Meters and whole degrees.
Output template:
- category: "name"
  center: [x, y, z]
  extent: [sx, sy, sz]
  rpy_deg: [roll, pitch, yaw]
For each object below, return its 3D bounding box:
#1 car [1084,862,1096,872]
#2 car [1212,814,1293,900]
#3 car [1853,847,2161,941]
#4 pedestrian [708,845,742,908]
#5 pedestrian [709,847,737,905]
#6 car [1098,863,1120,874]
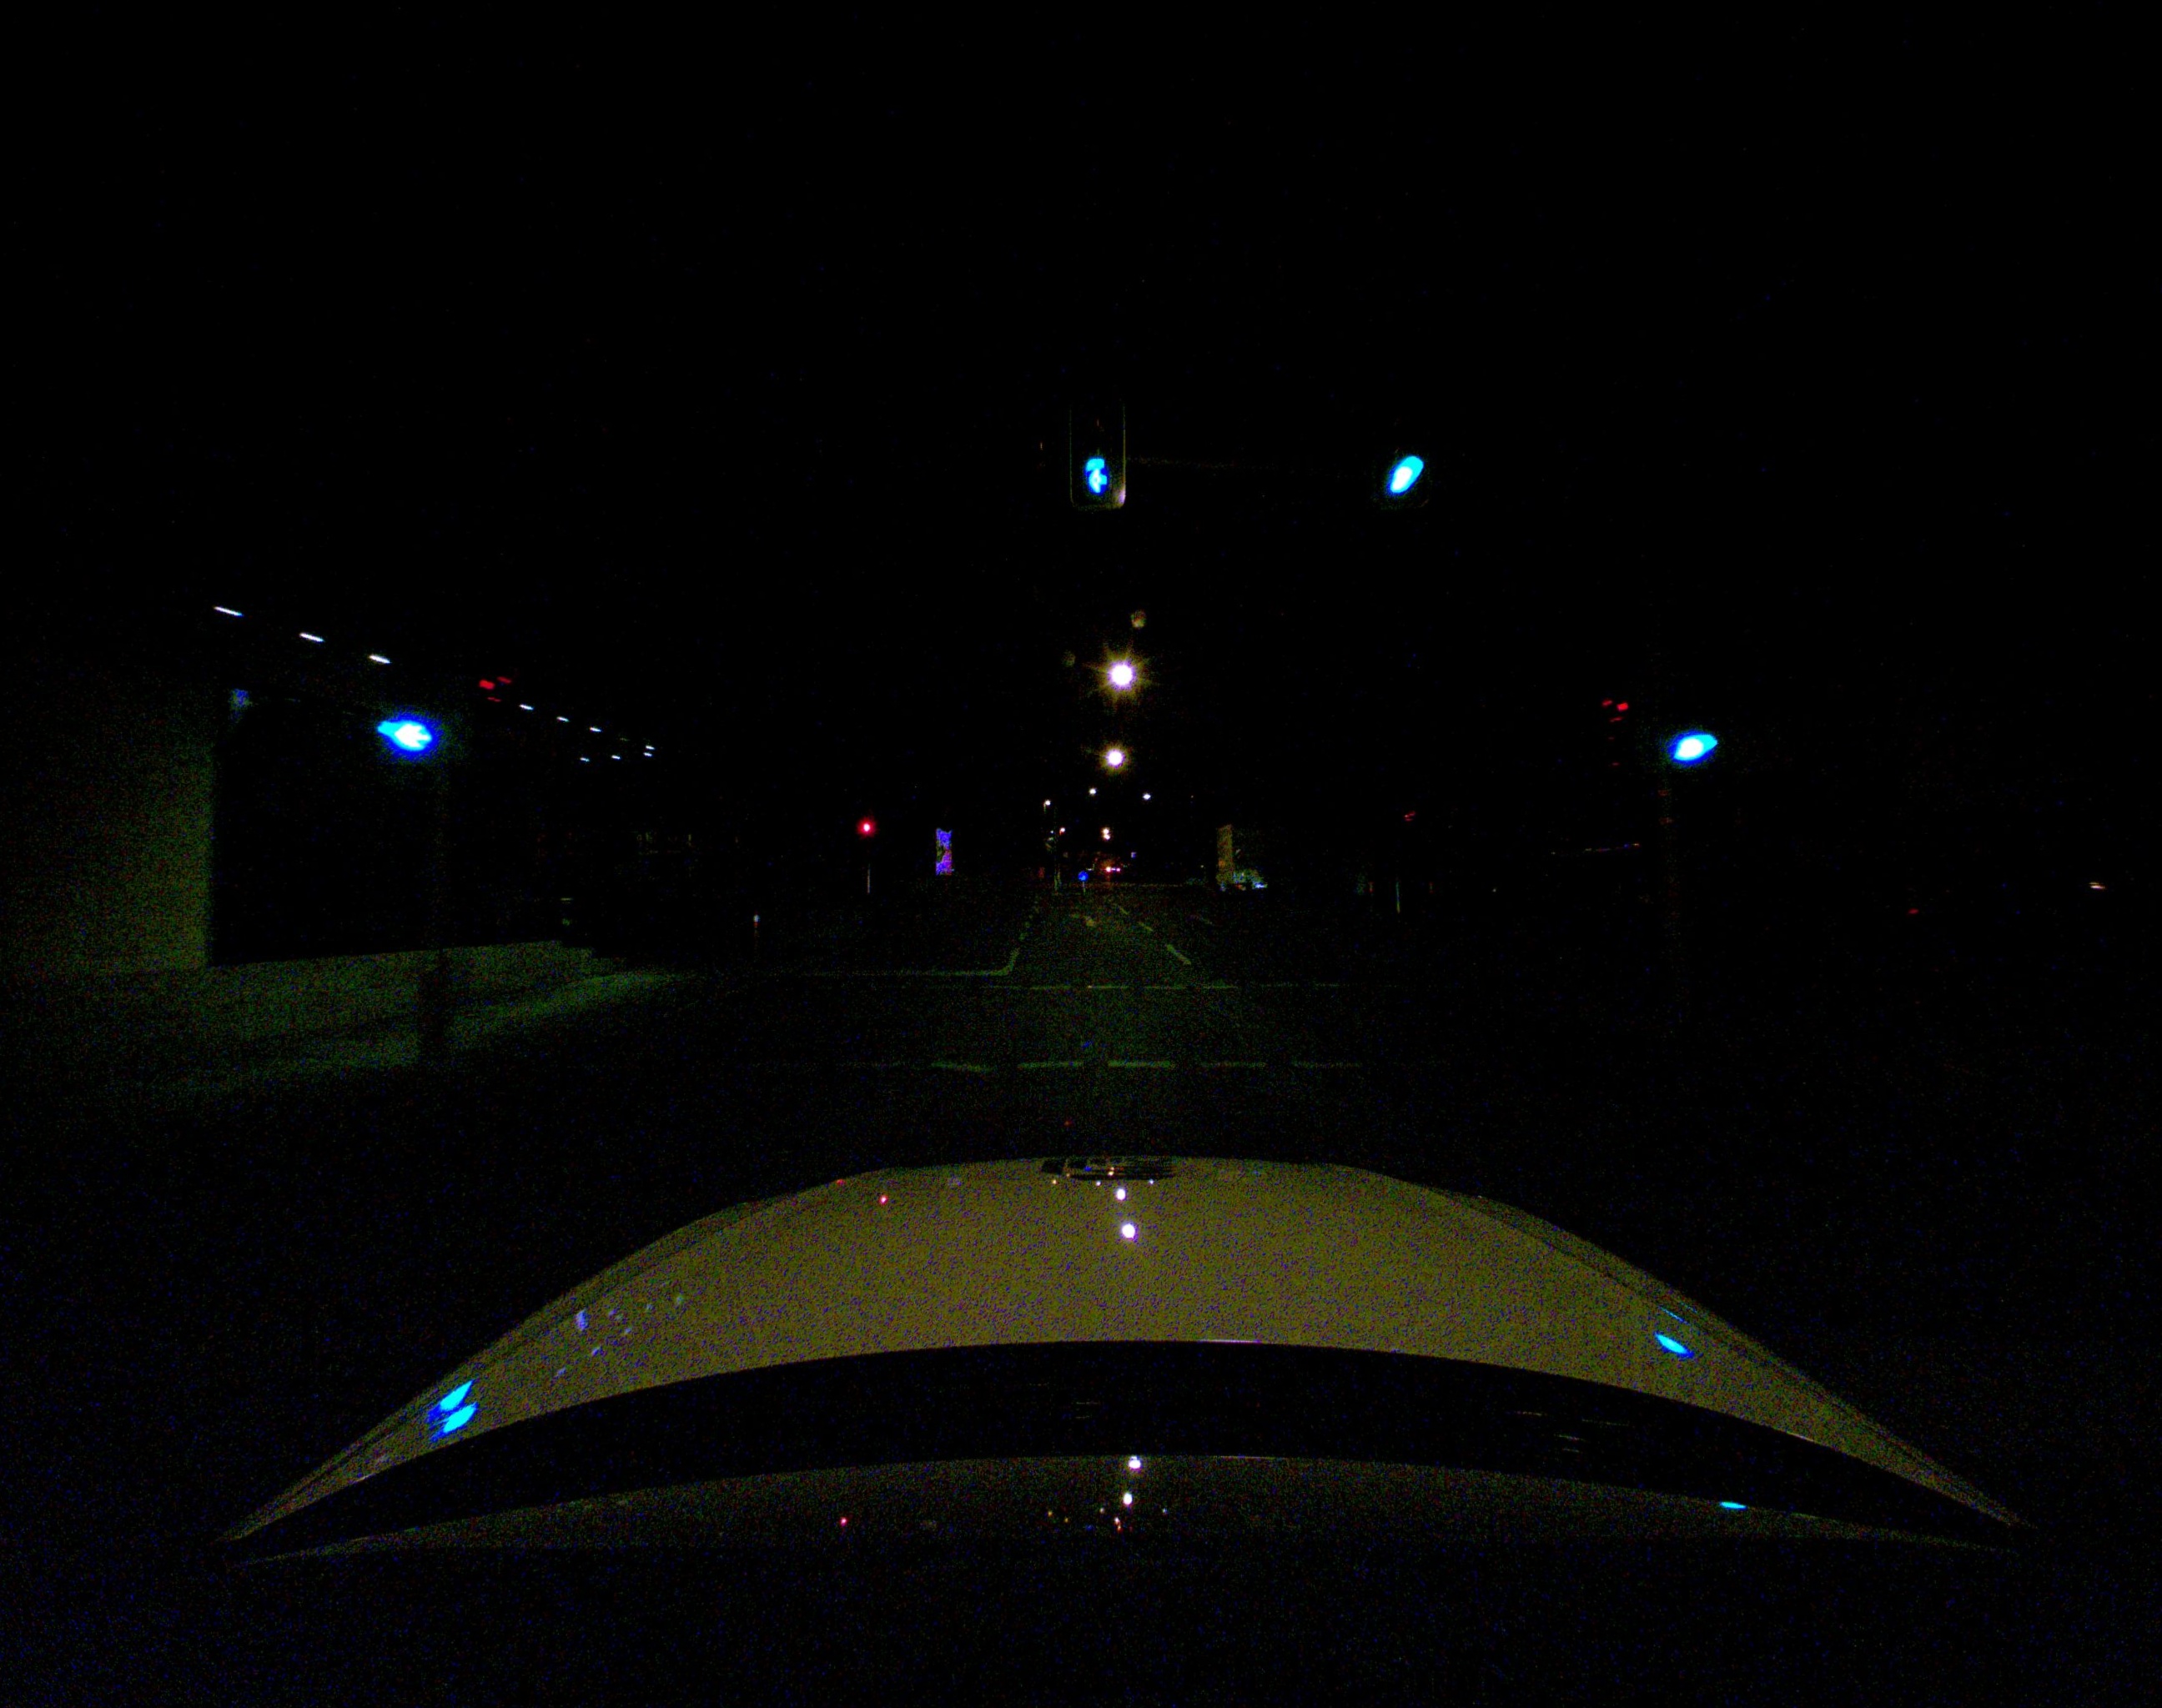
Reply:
- category: "car"
  center: [1.461, 2.129, 133.141]
  extent: [1.901, 1.558, 3.906]
  rpy_deg: [0, -1, 2]
- category: "car"
  center: [6.788, 0.154, 32.991]
  extent: [2.287, 3.093, 5.845]
  rpy_deg: [-2, -1, 3]
- category: "car"
  center: [17.444, 0.746, 15.031]
  extent: [4.342, 1.560, 1.807]
  rpy_deg: [-2, -4, 9]
- category: "pedestrian"
  center: [-10.297, 0.652, 23.570]
  extent: [0.568, 1.778, 0.737]
  rpy_deg: [1, -1, 2]
- category: "pedestrian"
  center: [-10.822, 0.649, 24.639]
  extent: [0.568, 1.731, 0.544]
  rpy_deg: [0, -1, 1]
- category: "car"
  center: [3.713, 1.931, 108.604]
  extent: [1.780, 1.486, 3.977]
  rpy_deg: [0, -1, -17]
